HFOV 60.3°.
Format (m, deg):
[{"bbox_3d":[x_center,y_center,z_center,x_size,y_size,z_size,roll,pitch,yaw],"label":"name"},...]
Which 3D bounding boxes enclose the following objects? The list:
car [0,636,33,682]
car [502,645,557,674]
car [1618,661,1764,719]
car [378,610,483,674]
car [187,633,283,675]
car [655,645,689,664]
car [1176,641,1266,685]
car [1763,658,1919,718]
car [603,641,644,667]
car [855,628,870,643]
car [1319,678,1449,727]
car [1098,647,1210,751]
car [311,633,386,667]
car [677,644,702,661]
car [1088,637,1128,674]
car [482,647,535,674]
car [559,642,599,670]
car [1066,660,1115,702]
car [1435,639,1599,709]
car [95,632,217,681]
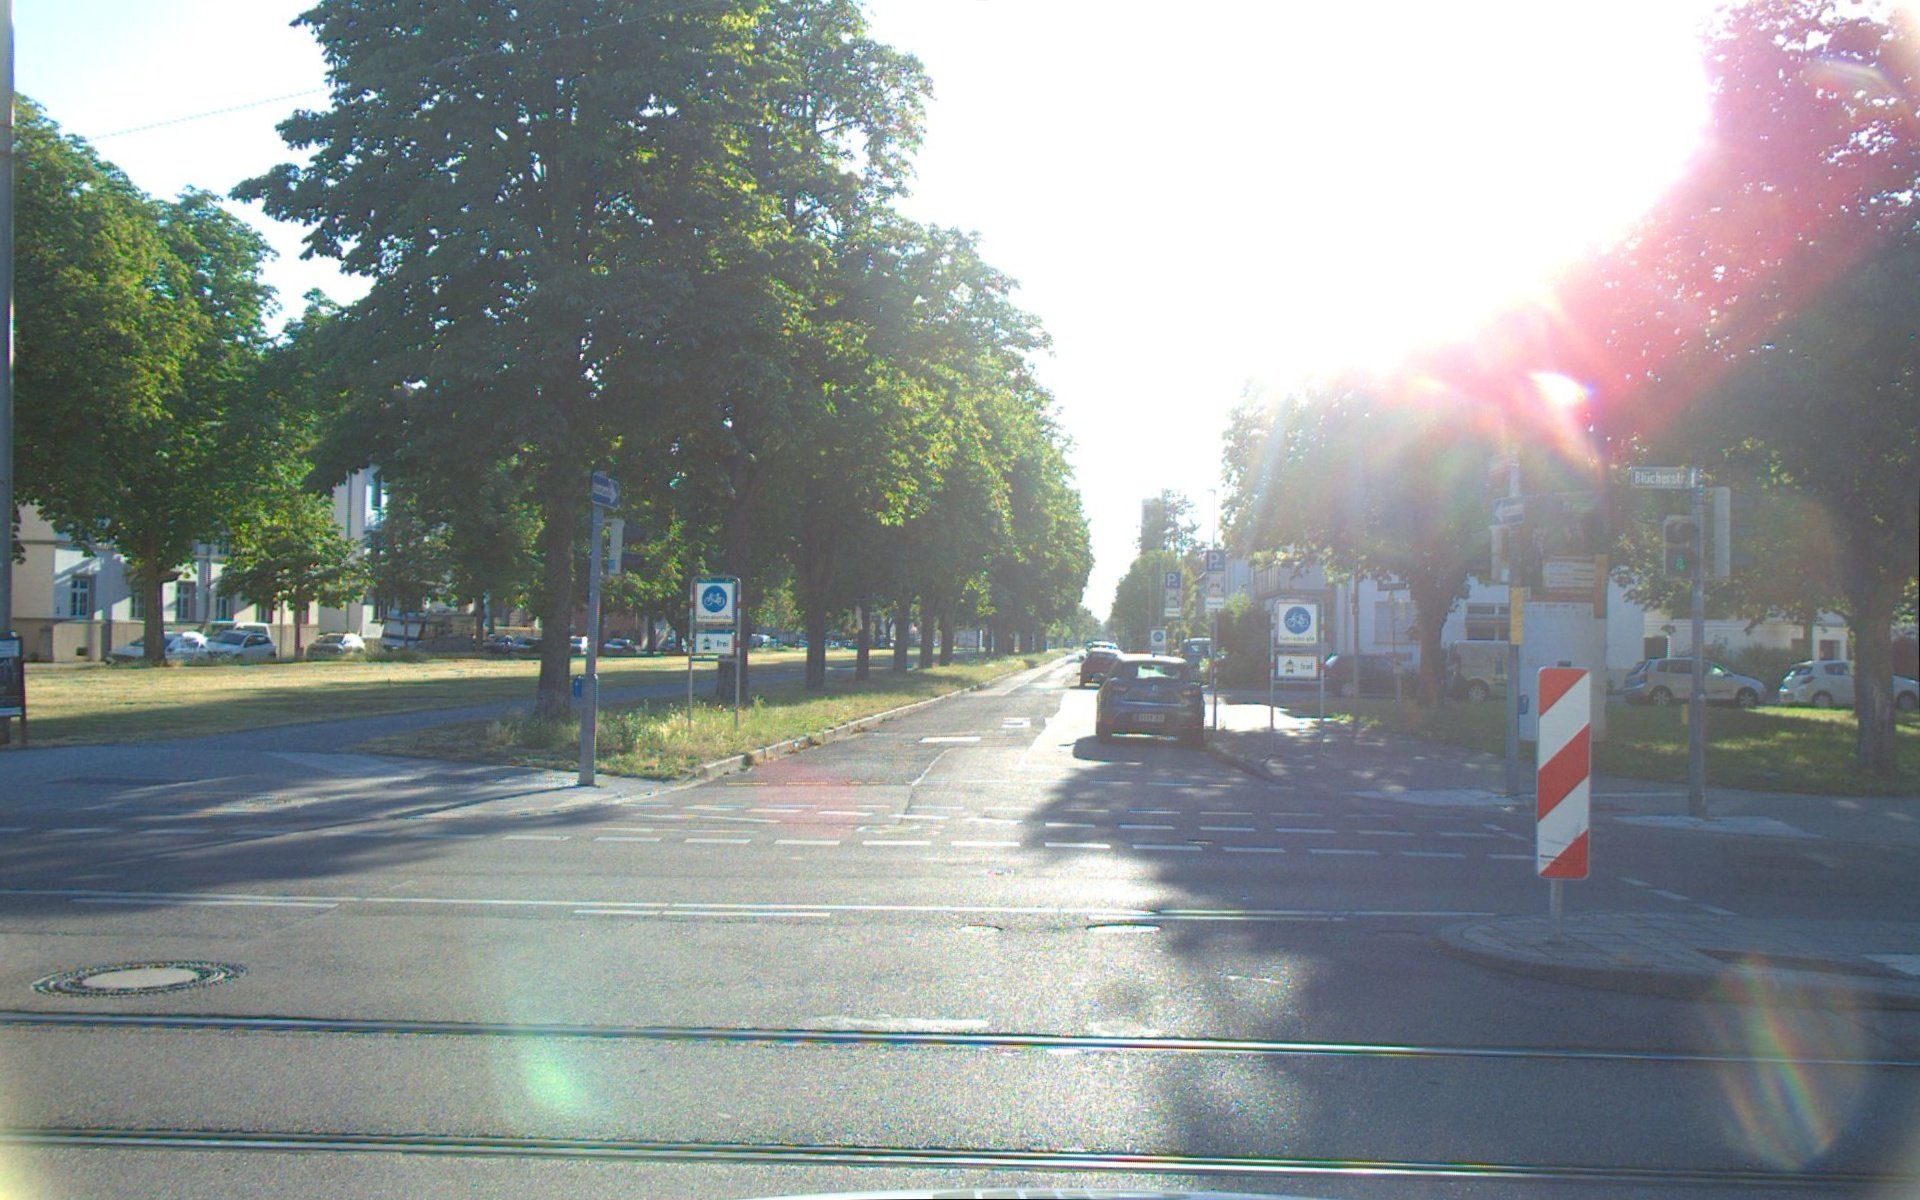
[{"bbox_3d":[-36.569,2.134,61.149,1.951,1.688,4.002,3,-2,6],"label":"car"},{"bbox_3d":[-27.166,3.764,104.487,1.840,1.703,4.317,3,-2,5],"label":"car"},{"bbox_3d":[20.821,2.548,47.169,3.481,1.542,1.605,1,-2,-1],"label":"car"},{"bbox_3d":[-28.399,2.274,89.072,2.342,3.185,7.856,3,-1,5],"label":"car"},{"bbox_3d":[-30.256,2.230,69.143,1.758,1.581,4.420,3,-1,3],"label":"car"},{"bbox_3d":[-28.018,5.294,161.065,1.951,1.688,4.357,3,-2,6],"label":"car"},{"bbox_3d":[12.044,2.937,76.561,3.905,1.854,1.759,1,-7,1],"label":"car"},{"bbox_3d":[25.290,2.524,47.370,3.841,1.551,1.523,2,-3,0],"label":"car"},{"bbox_3d":[-25.352,4.092,124.610,1.773,1.812,4.124,3,-2,6],"label":"car"},{"bbox_3d":[-14.133,5.181,240.694,1.619,1.972,3.568,3,-4,4],"label":"car"},{"bbox_3d":[13.975,3.359,54.642,3.903,1.472,1.717,1,-3,4],"label":"car"},{"bbox_3d":[3.266,1.667,28.339,1.689,1.537,4.542,3,-2,5],"label":"car"},{"bbox_3d":[-33.607,2.785,91.046,1.951,1.688,4.573,3,-2,6],"label":"car"},{"bbox_3d":[-27.503,5.357,168.491,1.605,1.672,3.855,3,-2,3],"label":"car"},{"bbox_3d":[7.793,2.923,87.408,1.952,1.813,4.001,3,-1,4],"label":"car"},{"bbox_3d":[-31.322,4.233,114.828,1.951,1.688,4.376,3,-2,6],"label":"car"},{"bbox_3d":[-30.265,4.486,131.505,1.952,2.049,4.001,3,-2,3],"label":"car"},{"bbox_3d":[4.871,3.013,61.637,1.674,1.383,4.204,3,-2,5],"label":"car"},{"bbox_3d":[16.107,2.146,48.026,4.152,1.908,2.031,1,-3,5],"label":"car"},{"bbox_3d":[-30.777,2.207,63.467,1.951,1.688,4.573,3,-2,6],"label":"car"}]
